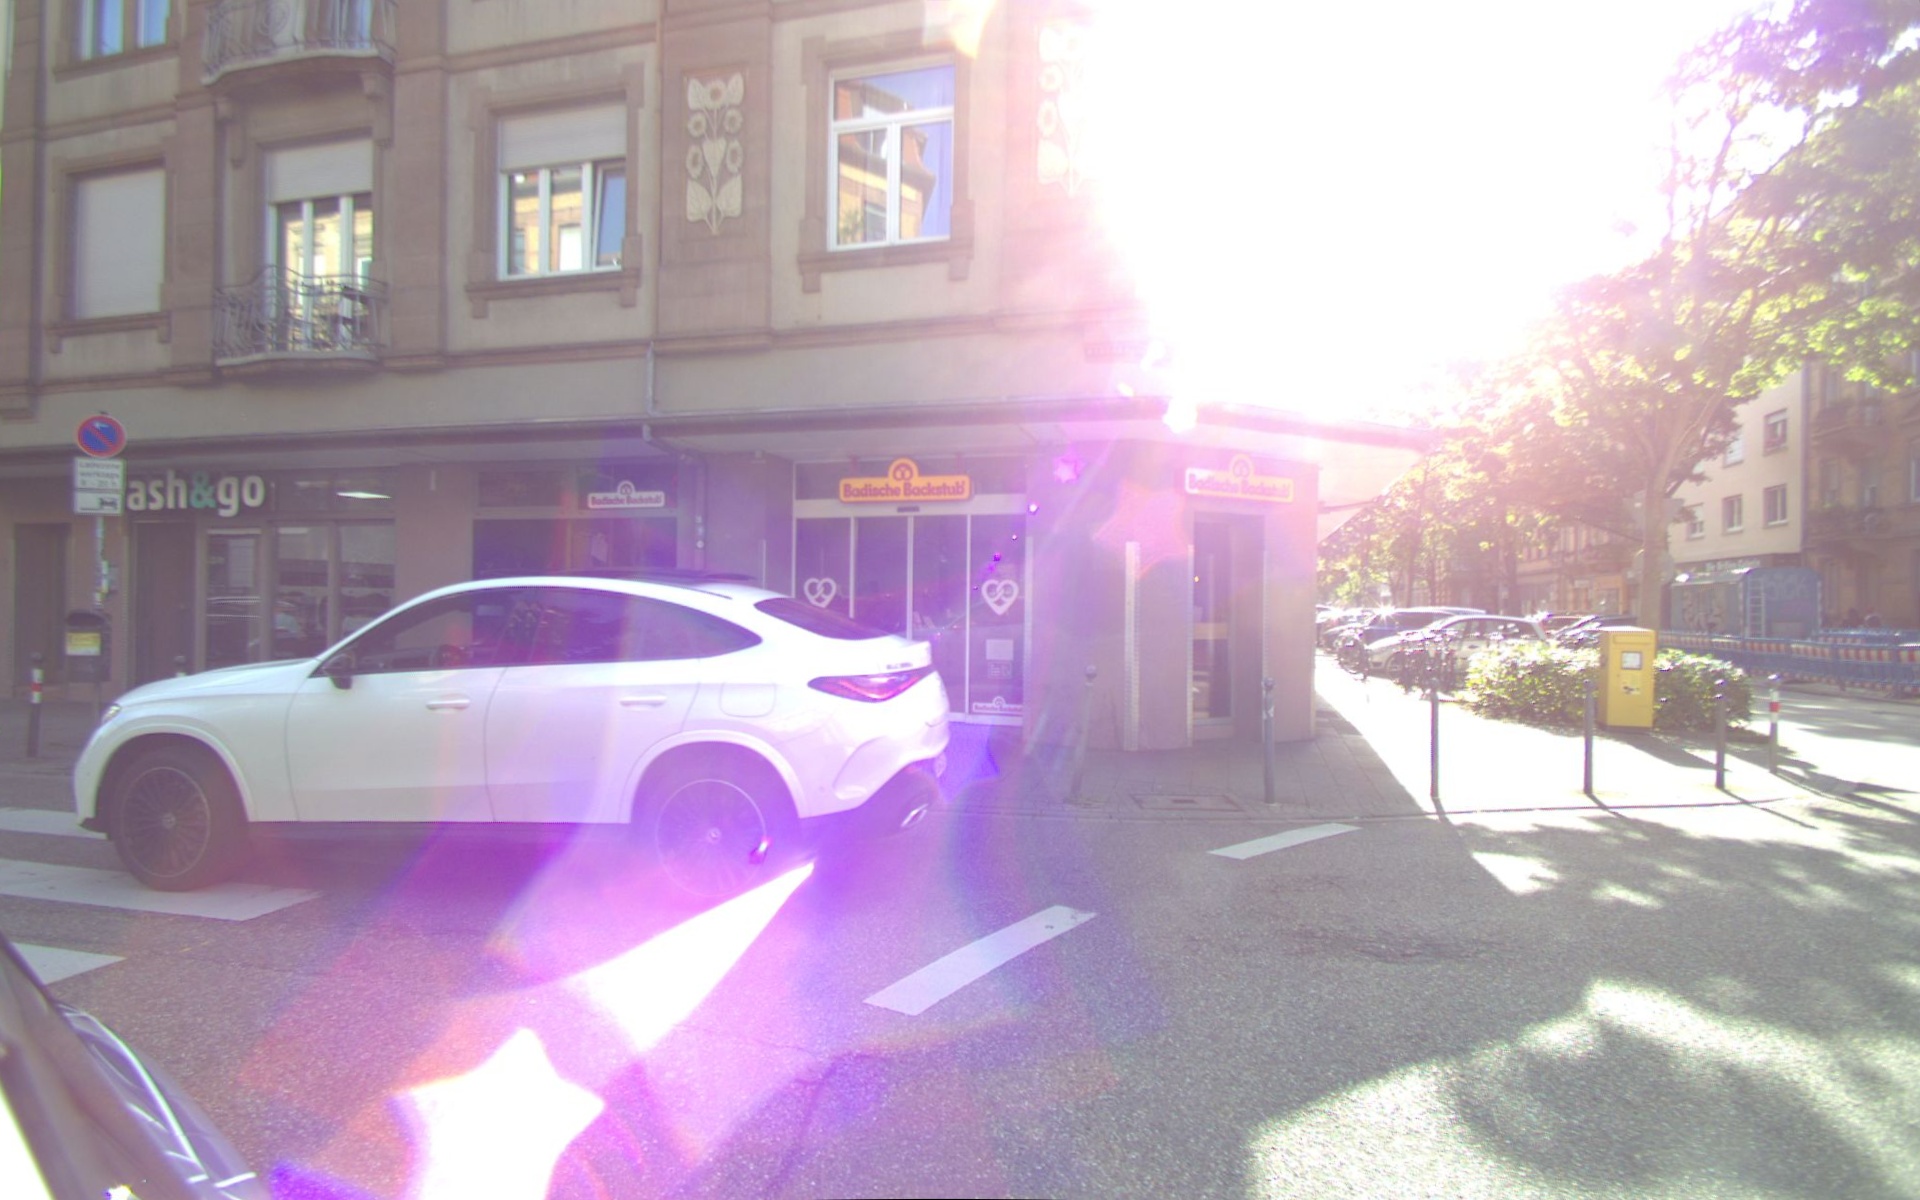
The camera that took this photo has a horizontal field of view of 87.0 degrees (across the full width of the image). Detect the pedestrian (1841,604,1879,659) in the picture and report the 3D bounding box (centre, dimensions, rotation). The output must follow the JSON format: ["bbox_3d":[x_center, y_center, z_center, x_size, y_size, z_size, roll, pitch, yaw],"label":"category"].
[{"bbox_3d":[28.148,0.977,31.655,0.695,1.685,0.518,0,-1,14],"label":"pedestrian"}]

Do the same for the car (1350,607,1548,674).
[{"bbox_3d":[11.600,0.931,24.282,4.038,1.487,1.569,0,1,17],"label":"car"}]

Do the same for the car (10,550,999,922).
[{"bbox_3d":[-2.222,0.610,5.738,4.784,1.647,1.996,0,0,6],"label":"car"}]

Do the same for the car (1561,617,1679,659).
[{"bbox_3d":[28.098,1.598,43.232,3.979,1.614,1.862,0,1,27],"label":"car"}]

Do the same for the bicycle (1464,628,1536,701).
[{"bbox_3d":[9.470,1.094,17.827,0.474,1.143,2.422,0,-1,12],"label":"bicycle"}]

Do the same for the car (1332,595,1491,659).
[{"bbox_3d":[11.941,0.681,26.986,3.666,1.608,1.569,0,1,17],"label":"car"}]

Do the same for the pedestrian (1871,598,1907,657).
[{"bbox_3d":[28.861,0.849,31.445,0.619,1.832,0.518,0,-1,14],"label":"pedestrian"}]

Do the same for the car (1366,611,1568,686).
[{"bbox_3d":[10.914,1.016,22.040,3.664,1.487,1.570,0,1,15],"label":"car"}]

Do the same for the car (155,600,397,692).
[{"bbox_3d":[-13.635,0.835,20.511,1.976,1.633,3.992,0,1,6],"label":"car"}]

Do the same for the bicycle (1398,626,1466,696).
[{"bbox_3d":[8.397,1.042,18.078,0.574,1.143,2.422,0,-1,12],"label":"bicycle"}]

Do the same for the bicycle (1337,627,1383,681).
[{"bbox_3d":[8.514,1.124,21.598,0.598,1.036,1.775,0,1,11],"label":"bicycle"}]

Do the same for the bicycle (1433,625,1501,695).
[{"bbox_3d":[8.952,1.020,17.950,0.474,1.143,2.422,0,-1,12],"label":"bicycle"}]
